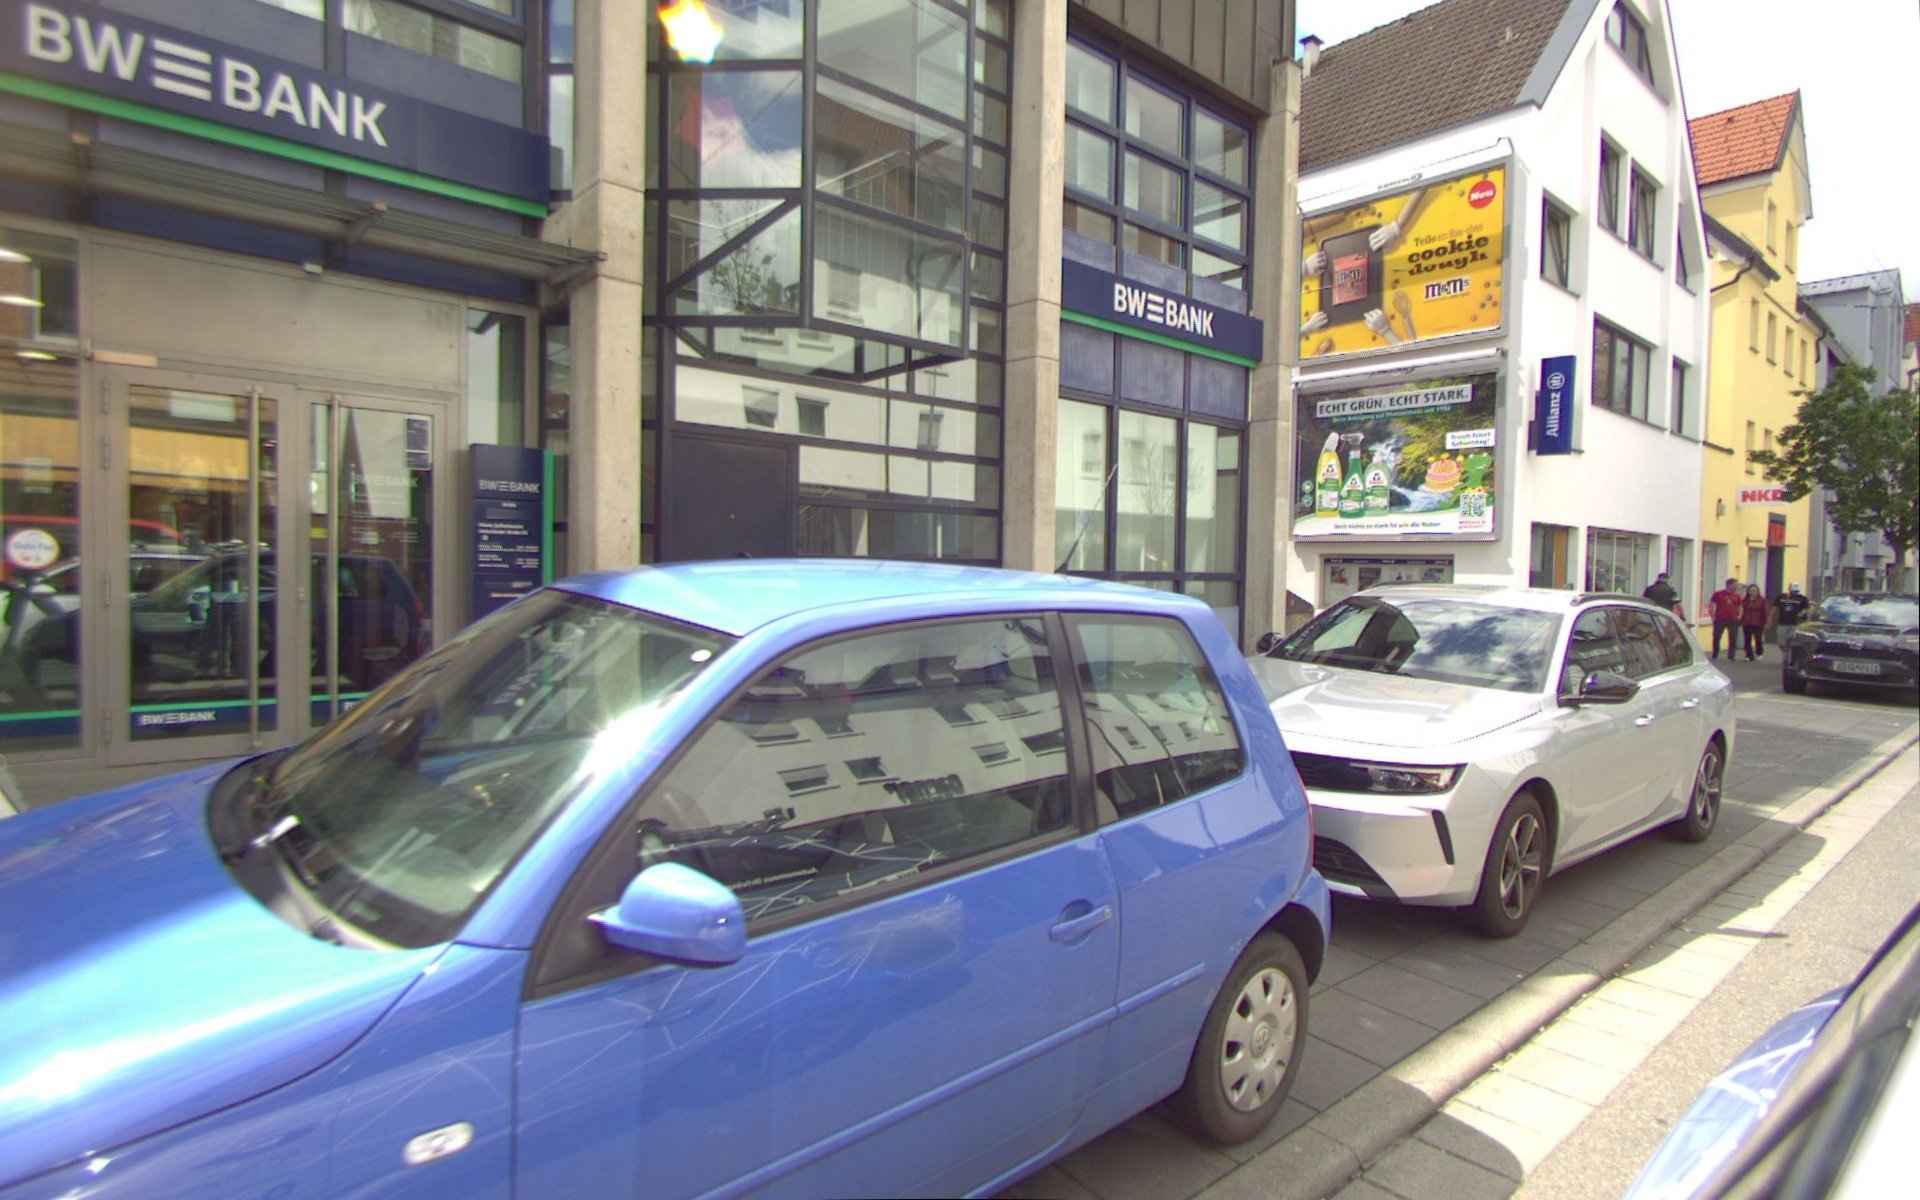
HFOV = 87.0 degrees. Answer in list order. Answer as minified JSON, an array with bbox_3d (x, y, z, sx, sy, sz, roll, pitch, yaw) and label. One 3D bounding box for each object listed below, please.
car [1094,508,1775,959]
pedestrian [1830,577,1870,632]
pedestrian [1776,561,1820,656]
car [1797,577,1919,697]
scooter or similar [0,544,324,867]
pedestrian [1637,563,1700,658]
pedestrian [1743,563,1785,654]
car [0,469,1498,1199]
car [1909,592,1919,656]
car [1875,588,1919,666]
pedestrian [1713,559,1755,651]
[{"bbox_3d":[2.892,0.384,5.640,4.351,1.596,1.724,-3,1,-40],"label":"car"},{"bbox_3d":[25.985,0.117,29.547,0.713,1.572,0.751,-1,2,-41],"label":"pedestrian"},{"bbox_3d":[16.671,0.162,20.129,0.566,1.863,0.589,-1,1,-40],"label":"pedestrian"},{"bbox_3d":[14.037,0.458,15.230,4.040,1.596,1.723,-1,1,-43],"label":"car"},{"bbox_3d":[-3.655,0.406,4.325,1.534,1.261,0.422,-1,1,-42],"label":"scooter or similar"},{"bbox_3d":[13.635,0.176,19.481,0.744,1.758,0.743,-1,3,-40],"label":"pedestrian"},{"bbox_3d":[16.806,0.165,21.158,0.566,1.863,0.589,-1,1,-40],"label":"pedestrian"},{"bbox_3d":[-0.370,0.595,2.612,4.036,1.512,1.725,-1,1,-40],"label":"car"},{"bbox_3d":[24.948,0.539,25.003,4.869,1.494,1.634,-1,1,-40],"label":"car"},{"bbox_3d":[20.615,0.515,21.146,4.278,1.494,1.724,-1,1,-41],"label":"car"},{"bbox_3d":[15.976,0.089,20.900,0.566,1.863,0.589,-1,1,-40],"label":"pedestrian"}]
